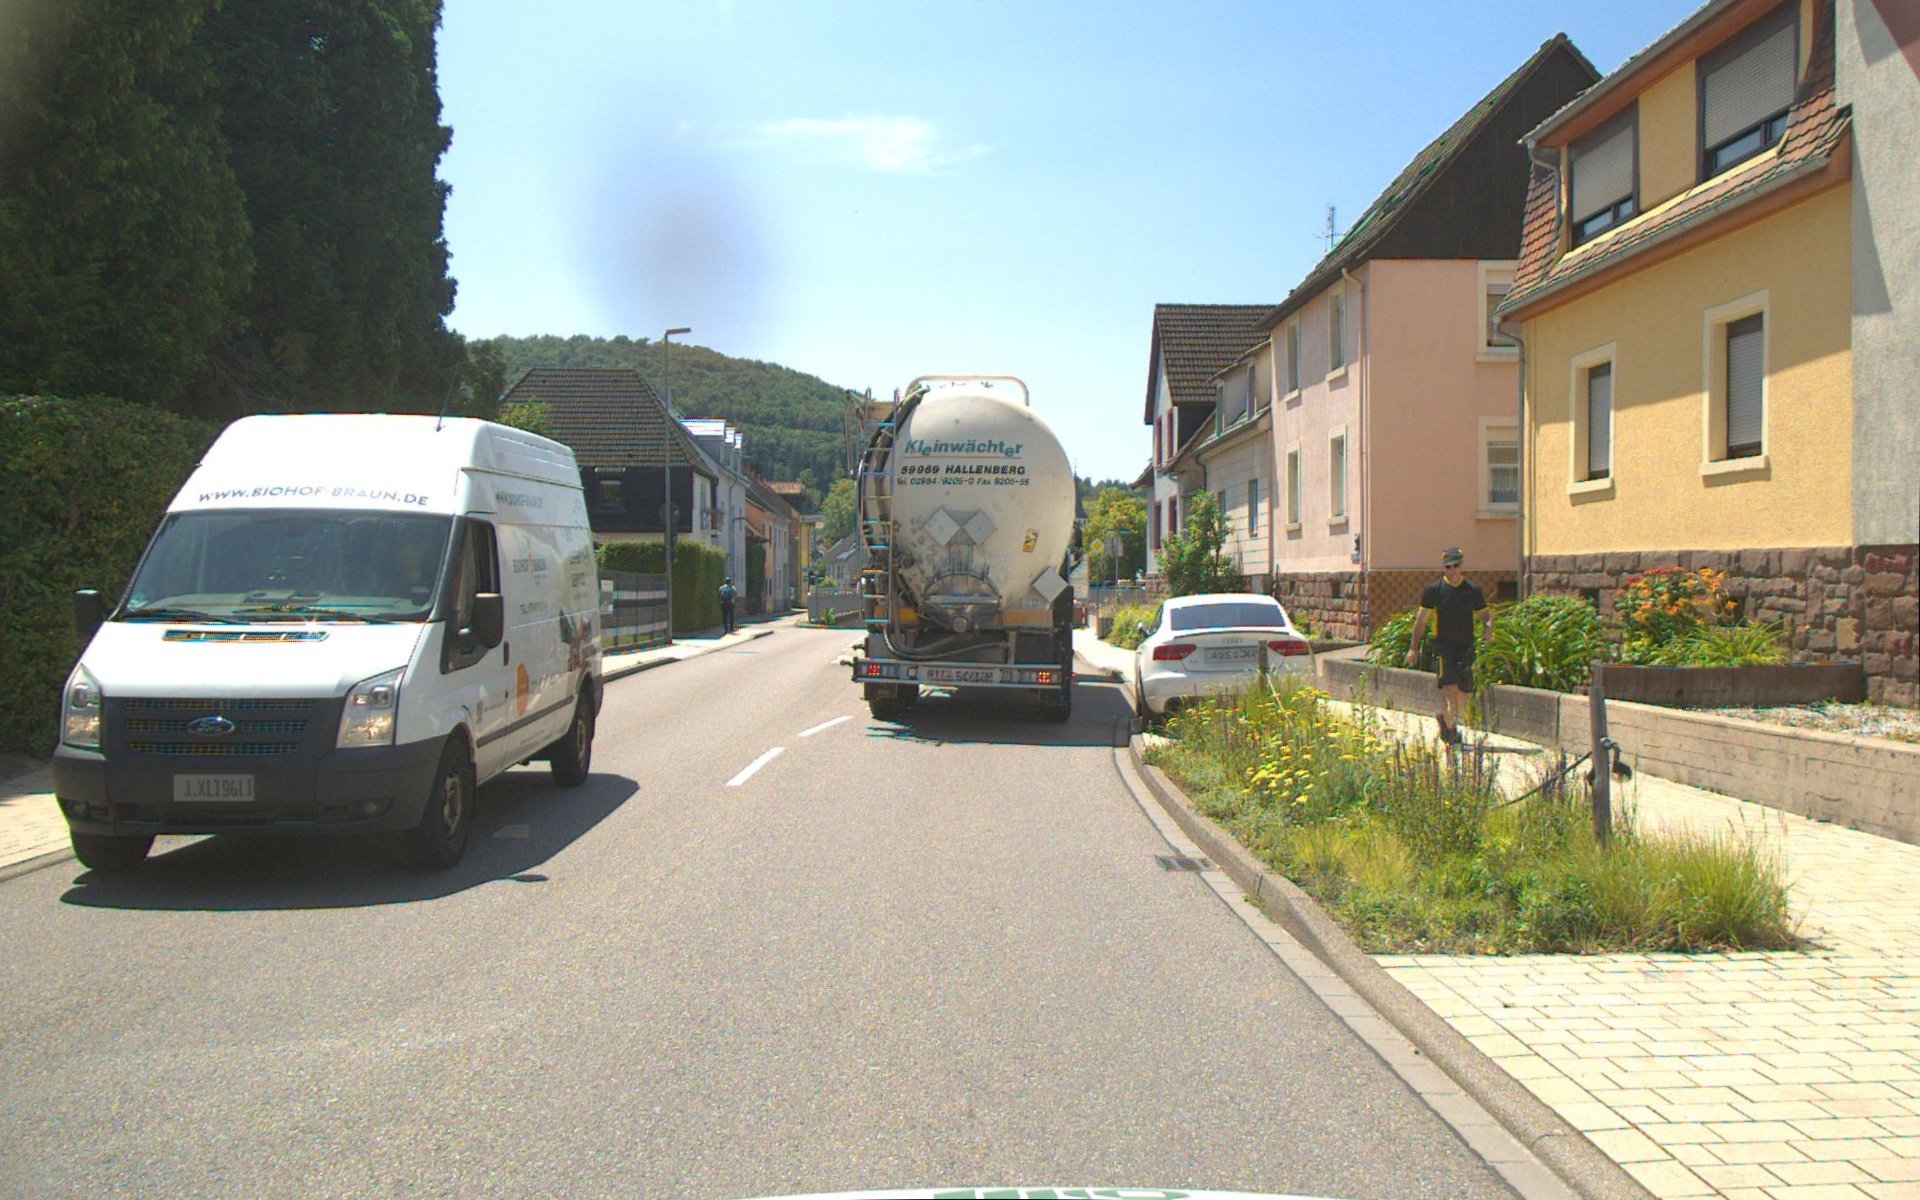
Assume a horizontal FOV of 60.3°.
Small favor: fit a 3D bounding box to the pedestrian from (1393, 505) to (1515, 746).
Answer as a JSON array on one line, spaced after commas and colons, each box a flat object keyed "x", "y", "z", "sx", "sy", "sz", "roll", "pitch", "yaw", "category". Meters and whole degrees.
[{"x": 4.386, "y": 0.227, "z": 14.750, "sx": 0.731, "sy": 2.049, "sz": 1.033, "roll": 2, "pitch": -1, "yaw": 0, "category": "pedestrian"}]

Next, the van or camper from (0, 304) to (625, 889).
[{"x": -3.680, "y": 0.008, "z": 10.766, "sx": 1.996, "sy": 2.761, "sz": 5.821, "roll": 0, "pitch": -1, "yaw": -2, "category": "van or camper"}]

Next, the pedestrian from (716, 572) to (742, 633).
[{"x": -7.238, "y": 0.085, "z": 51.919, "sx": 0.698, "sy": 1.855, "sz": 0.897, "roll": 2, "pitch": -1, "yaw": -5, "category": "pedestrian"}]

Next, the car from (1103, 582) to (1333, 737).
[{"x": 2.709, "y": 0.631, "z": 18.390, "sx": 1.721, "sy": 1.443, "sz": 4.631, "roll": -2, "pitch": -1, "yaw": -1, "category": "car"}]

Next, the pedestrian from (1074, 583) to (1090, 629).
[{"x": 4.623, "y": 0.226, "z": 62.846, "sx": 0.559, "sy": 1.723, "sz": 0.721, "roll": 1, "pitch": -1, "yaw": 3, "category": "pedestrian"}]

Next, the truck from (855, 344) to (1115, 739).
[{"x": 0.083, "y": -0.639, "z": 22.936, "sx": 2.695, "sy": 4.127, "sz": 10.885, "roll": 1, "pitch": 0, "yaw": -2, "category": "truck"}]
